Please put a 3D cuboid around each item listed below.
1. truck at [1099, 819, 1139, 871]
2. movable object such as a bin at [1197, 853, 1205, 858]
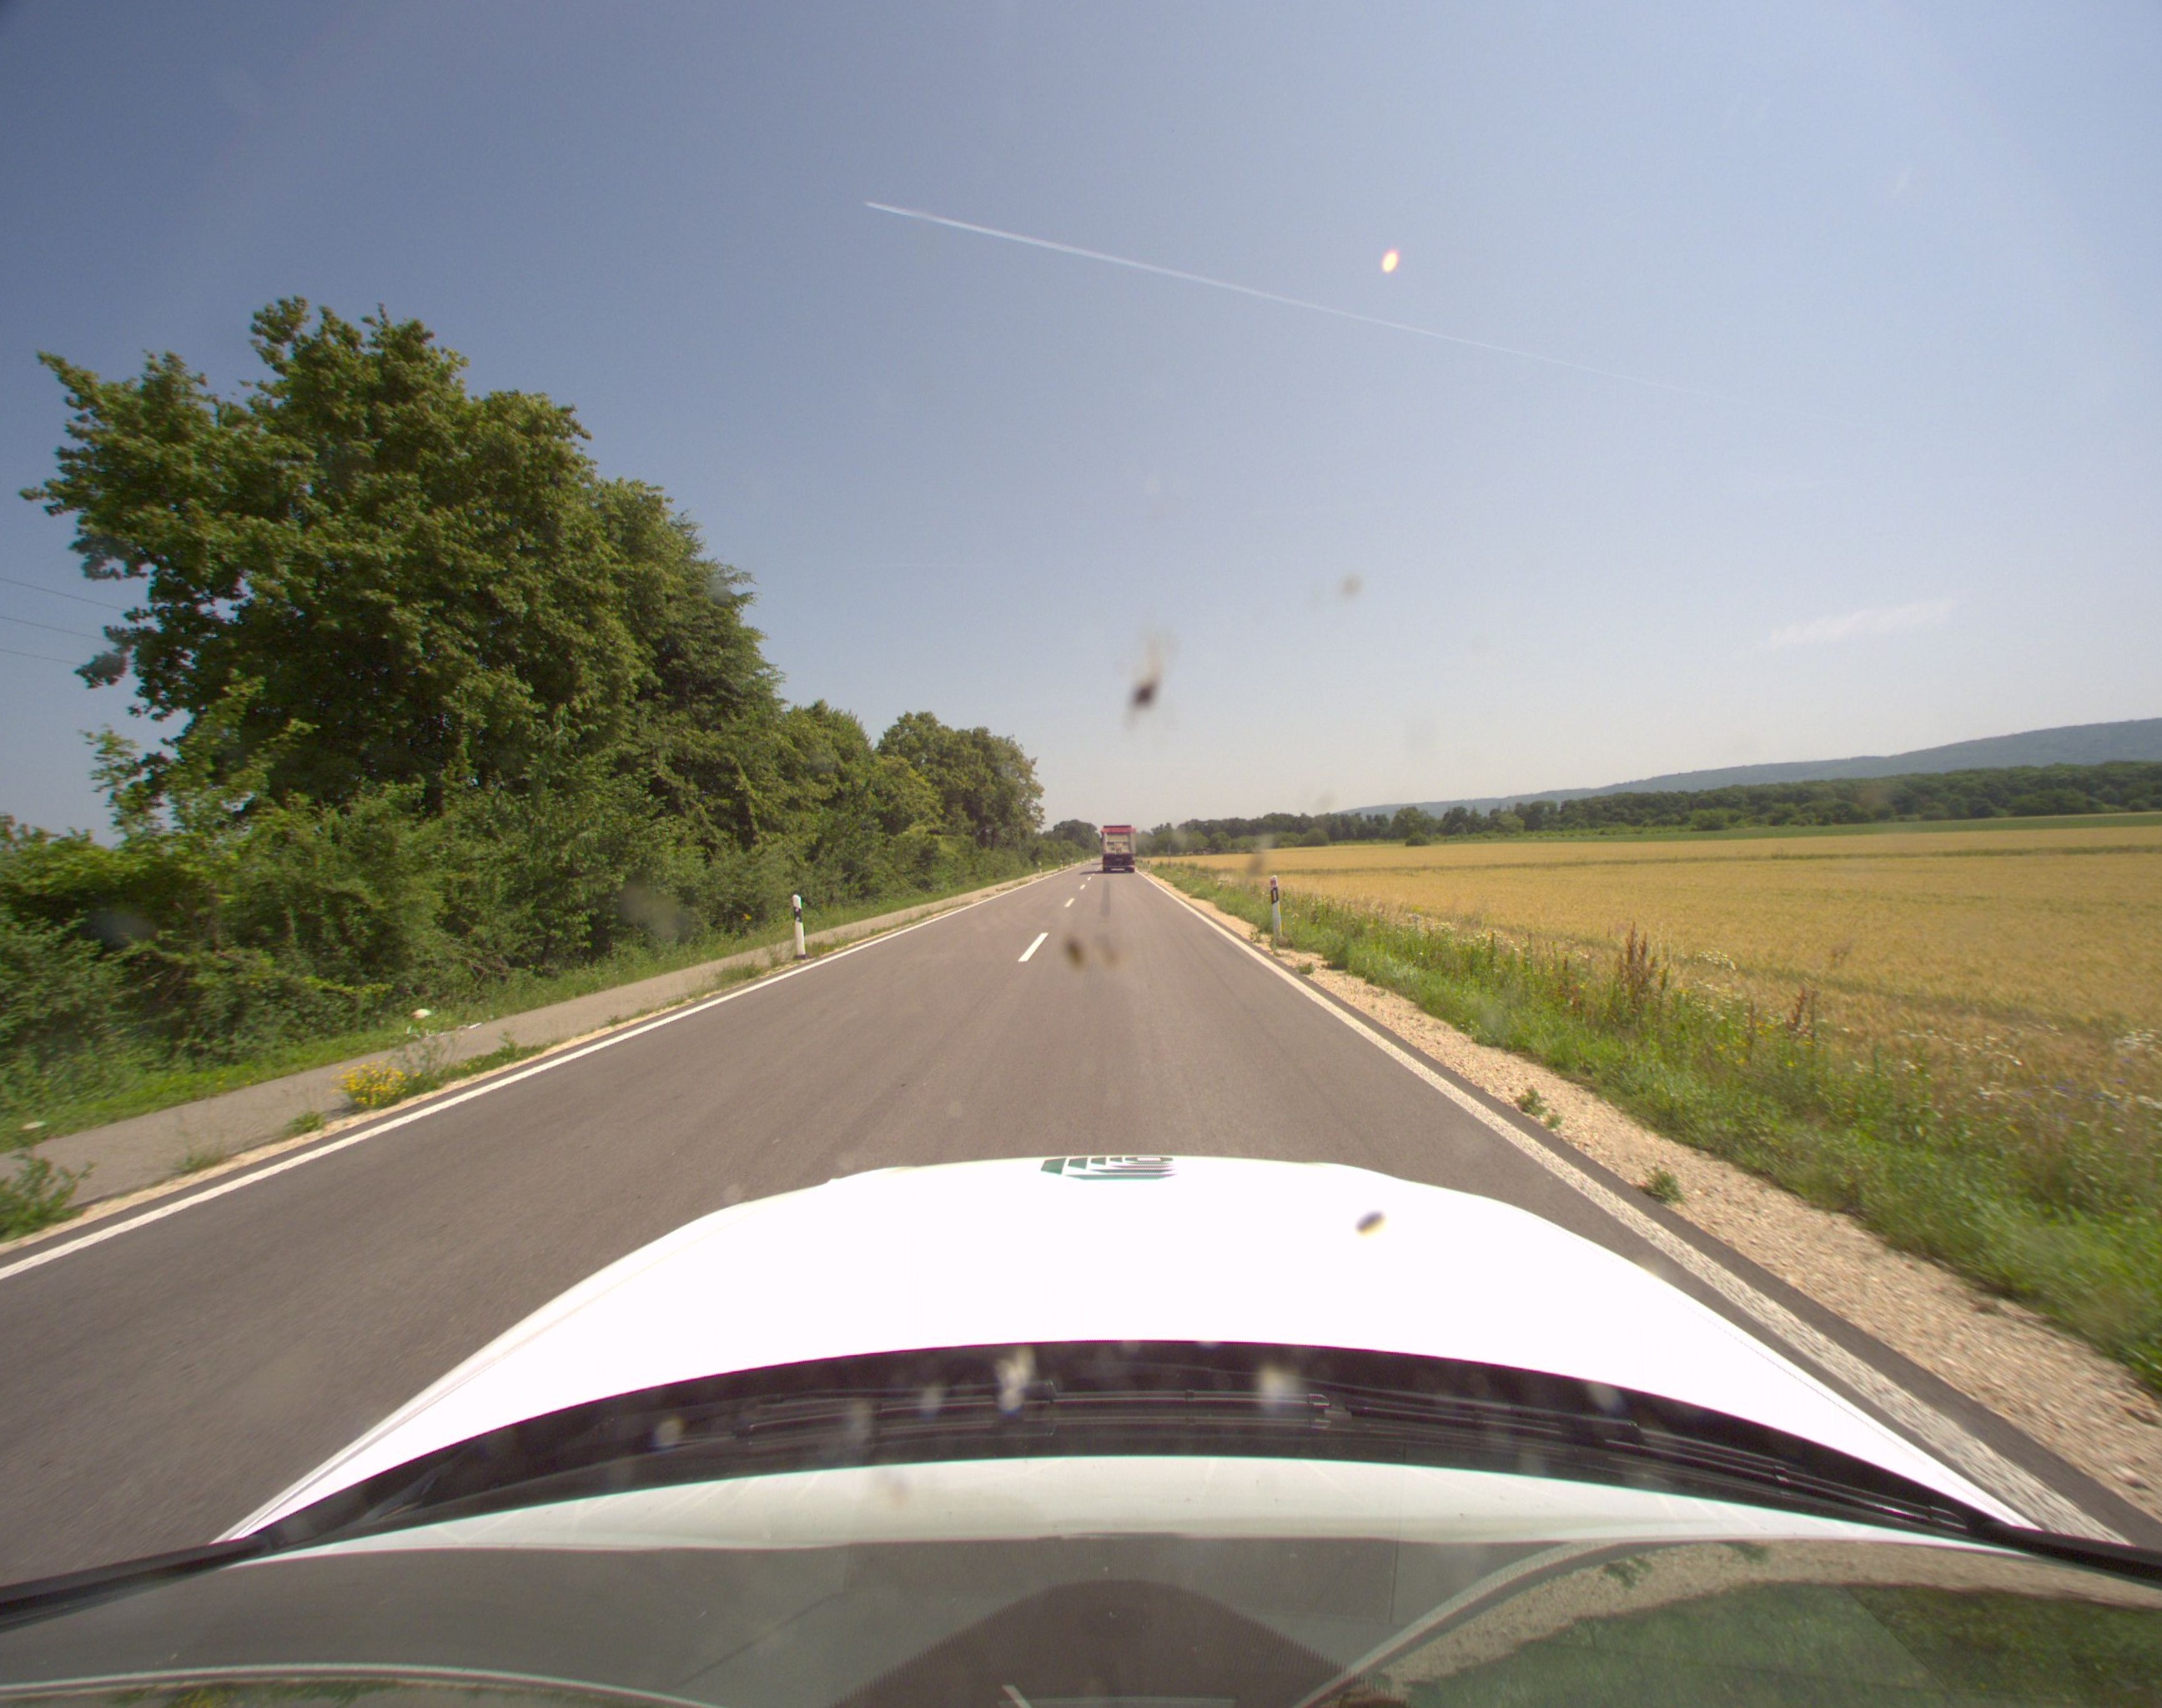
[{"bbox_3d":[3.065,-0.644,66.699,2.998,3.874,12.215,0,-1,2],"label":"truck"},{"bbox_3d":[36.683,0.374,248.921,1.567,1.496,3.655,-2,0,-2],"label":"movable object such as a bin"}]
